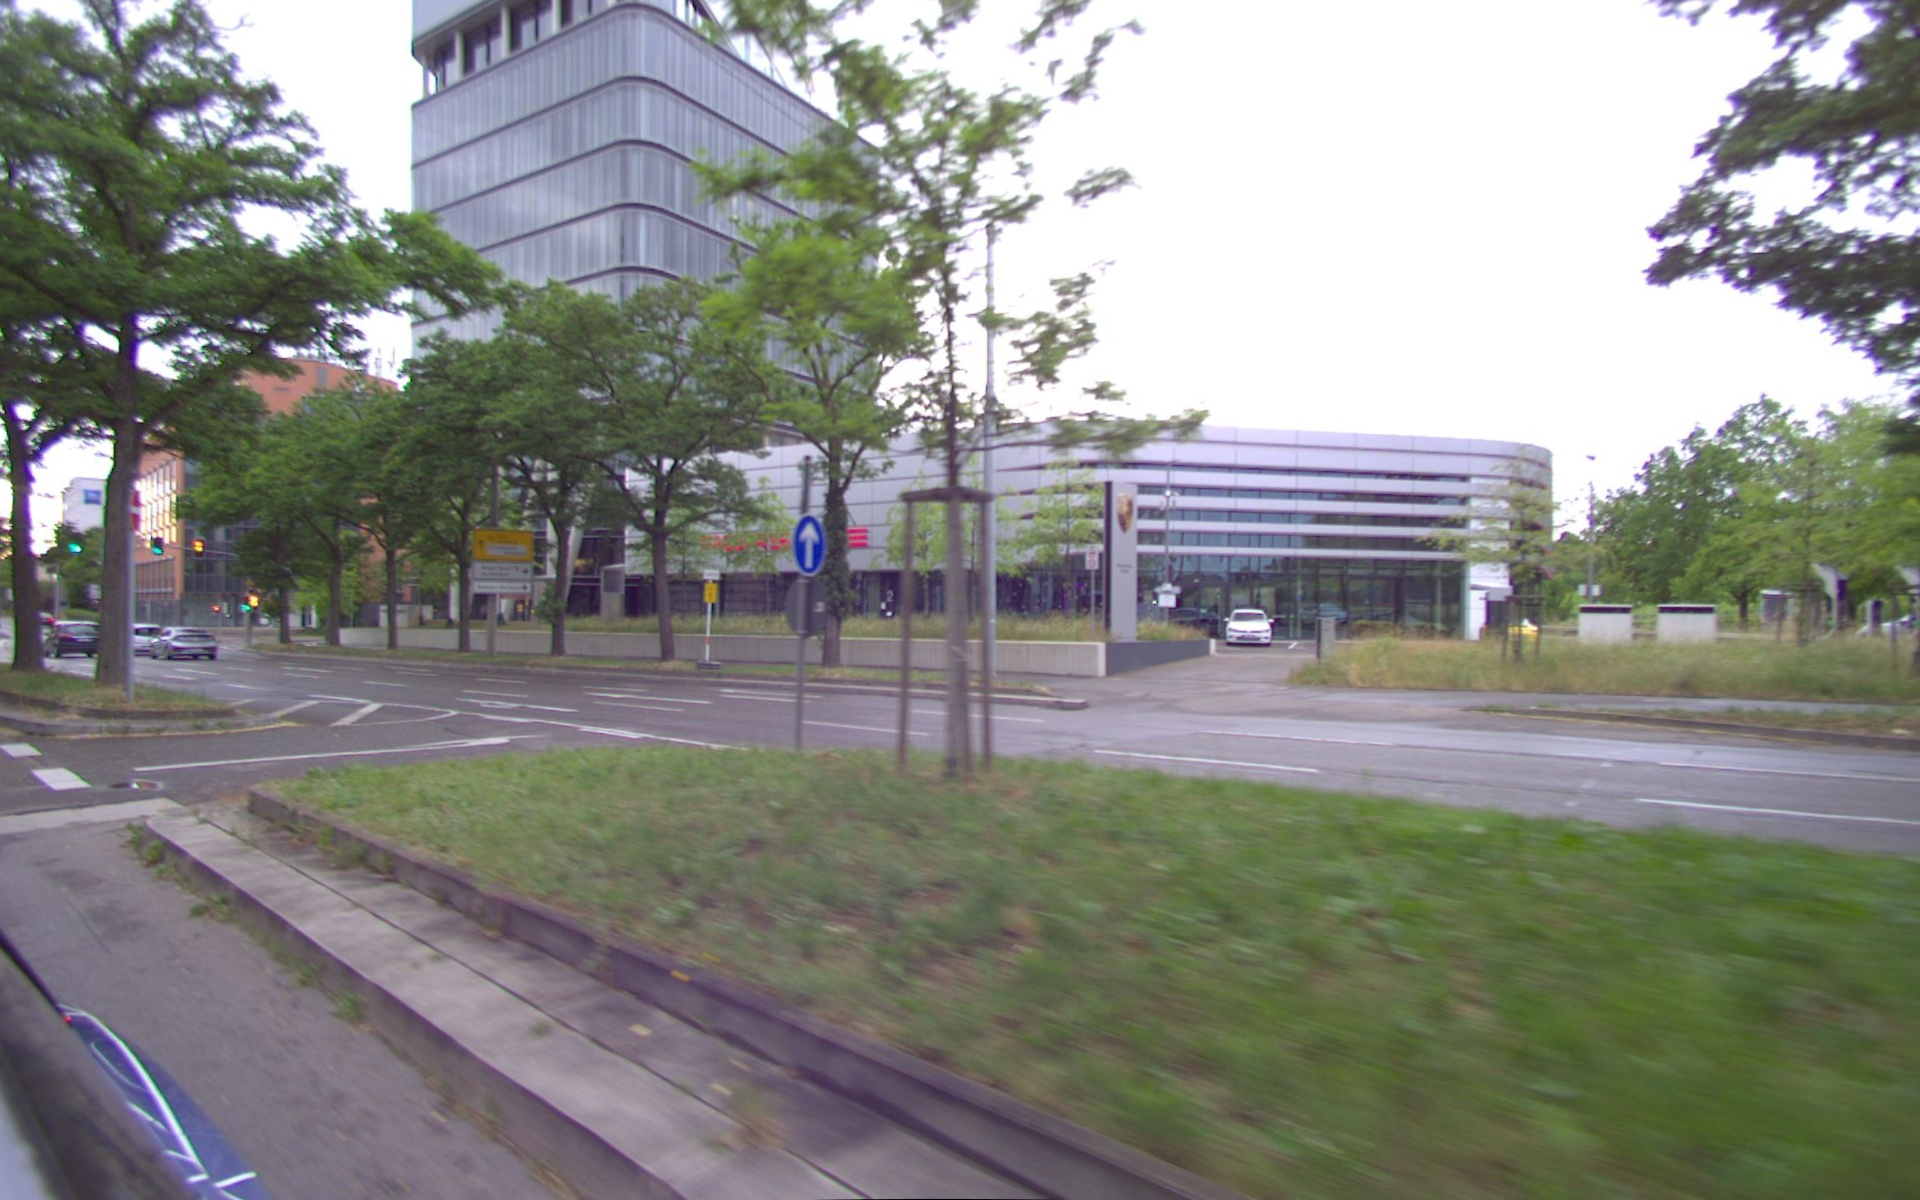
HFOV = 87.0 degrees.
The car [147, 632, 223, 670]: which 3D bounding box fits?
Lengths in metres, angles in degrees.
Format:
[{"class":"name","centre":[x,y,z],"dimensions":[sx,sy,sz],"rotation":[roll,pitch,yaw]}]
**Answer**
[{"class":"car","centre":[-34.280,2.208,44.747],"dimensions":[3.998,1.464,1.870],"rotation":[-1,1,41]}]

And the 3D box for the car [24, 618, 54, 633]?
[{"class":"car","centre":[-94.294,2.599,103.568],"dimensions":[3.998,1.464,1.760],"rotation":[-1,1,41]}]

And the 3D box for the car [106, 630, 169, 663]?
[{"class":"car","centre":[-41.323,2.318,50.841],"dimensions":[3.998,1.464,1.760],"rotation":[-1,1,41]}]

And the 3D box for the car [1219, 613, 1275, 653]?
[{"class":"car","centre":[11.792,1.322,41.767],"dimensions":[1.759,1.423,3.988],"rotation":[-1,1,10]}]

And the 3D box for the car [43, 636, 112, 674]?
[{"class":"car","centre":[-40.526,2.475,46.447],"dimensions":[4.171,1.602,1.822],"rotation":[-1,-2,41]}]

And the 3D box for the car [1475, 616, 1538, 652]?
[{"class":"car","centre":[23.500,1.444,43.611],"dimensions":[1.606,1.334,3.978],"rotation":[-1,1,17]}]

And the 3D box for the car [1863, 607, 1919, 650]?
[{"class":"car","centre":[30.650,0.887,31.106],"dimensions":[1.592,1.254,4.013],"rotation":[-2,1,-27]}]
